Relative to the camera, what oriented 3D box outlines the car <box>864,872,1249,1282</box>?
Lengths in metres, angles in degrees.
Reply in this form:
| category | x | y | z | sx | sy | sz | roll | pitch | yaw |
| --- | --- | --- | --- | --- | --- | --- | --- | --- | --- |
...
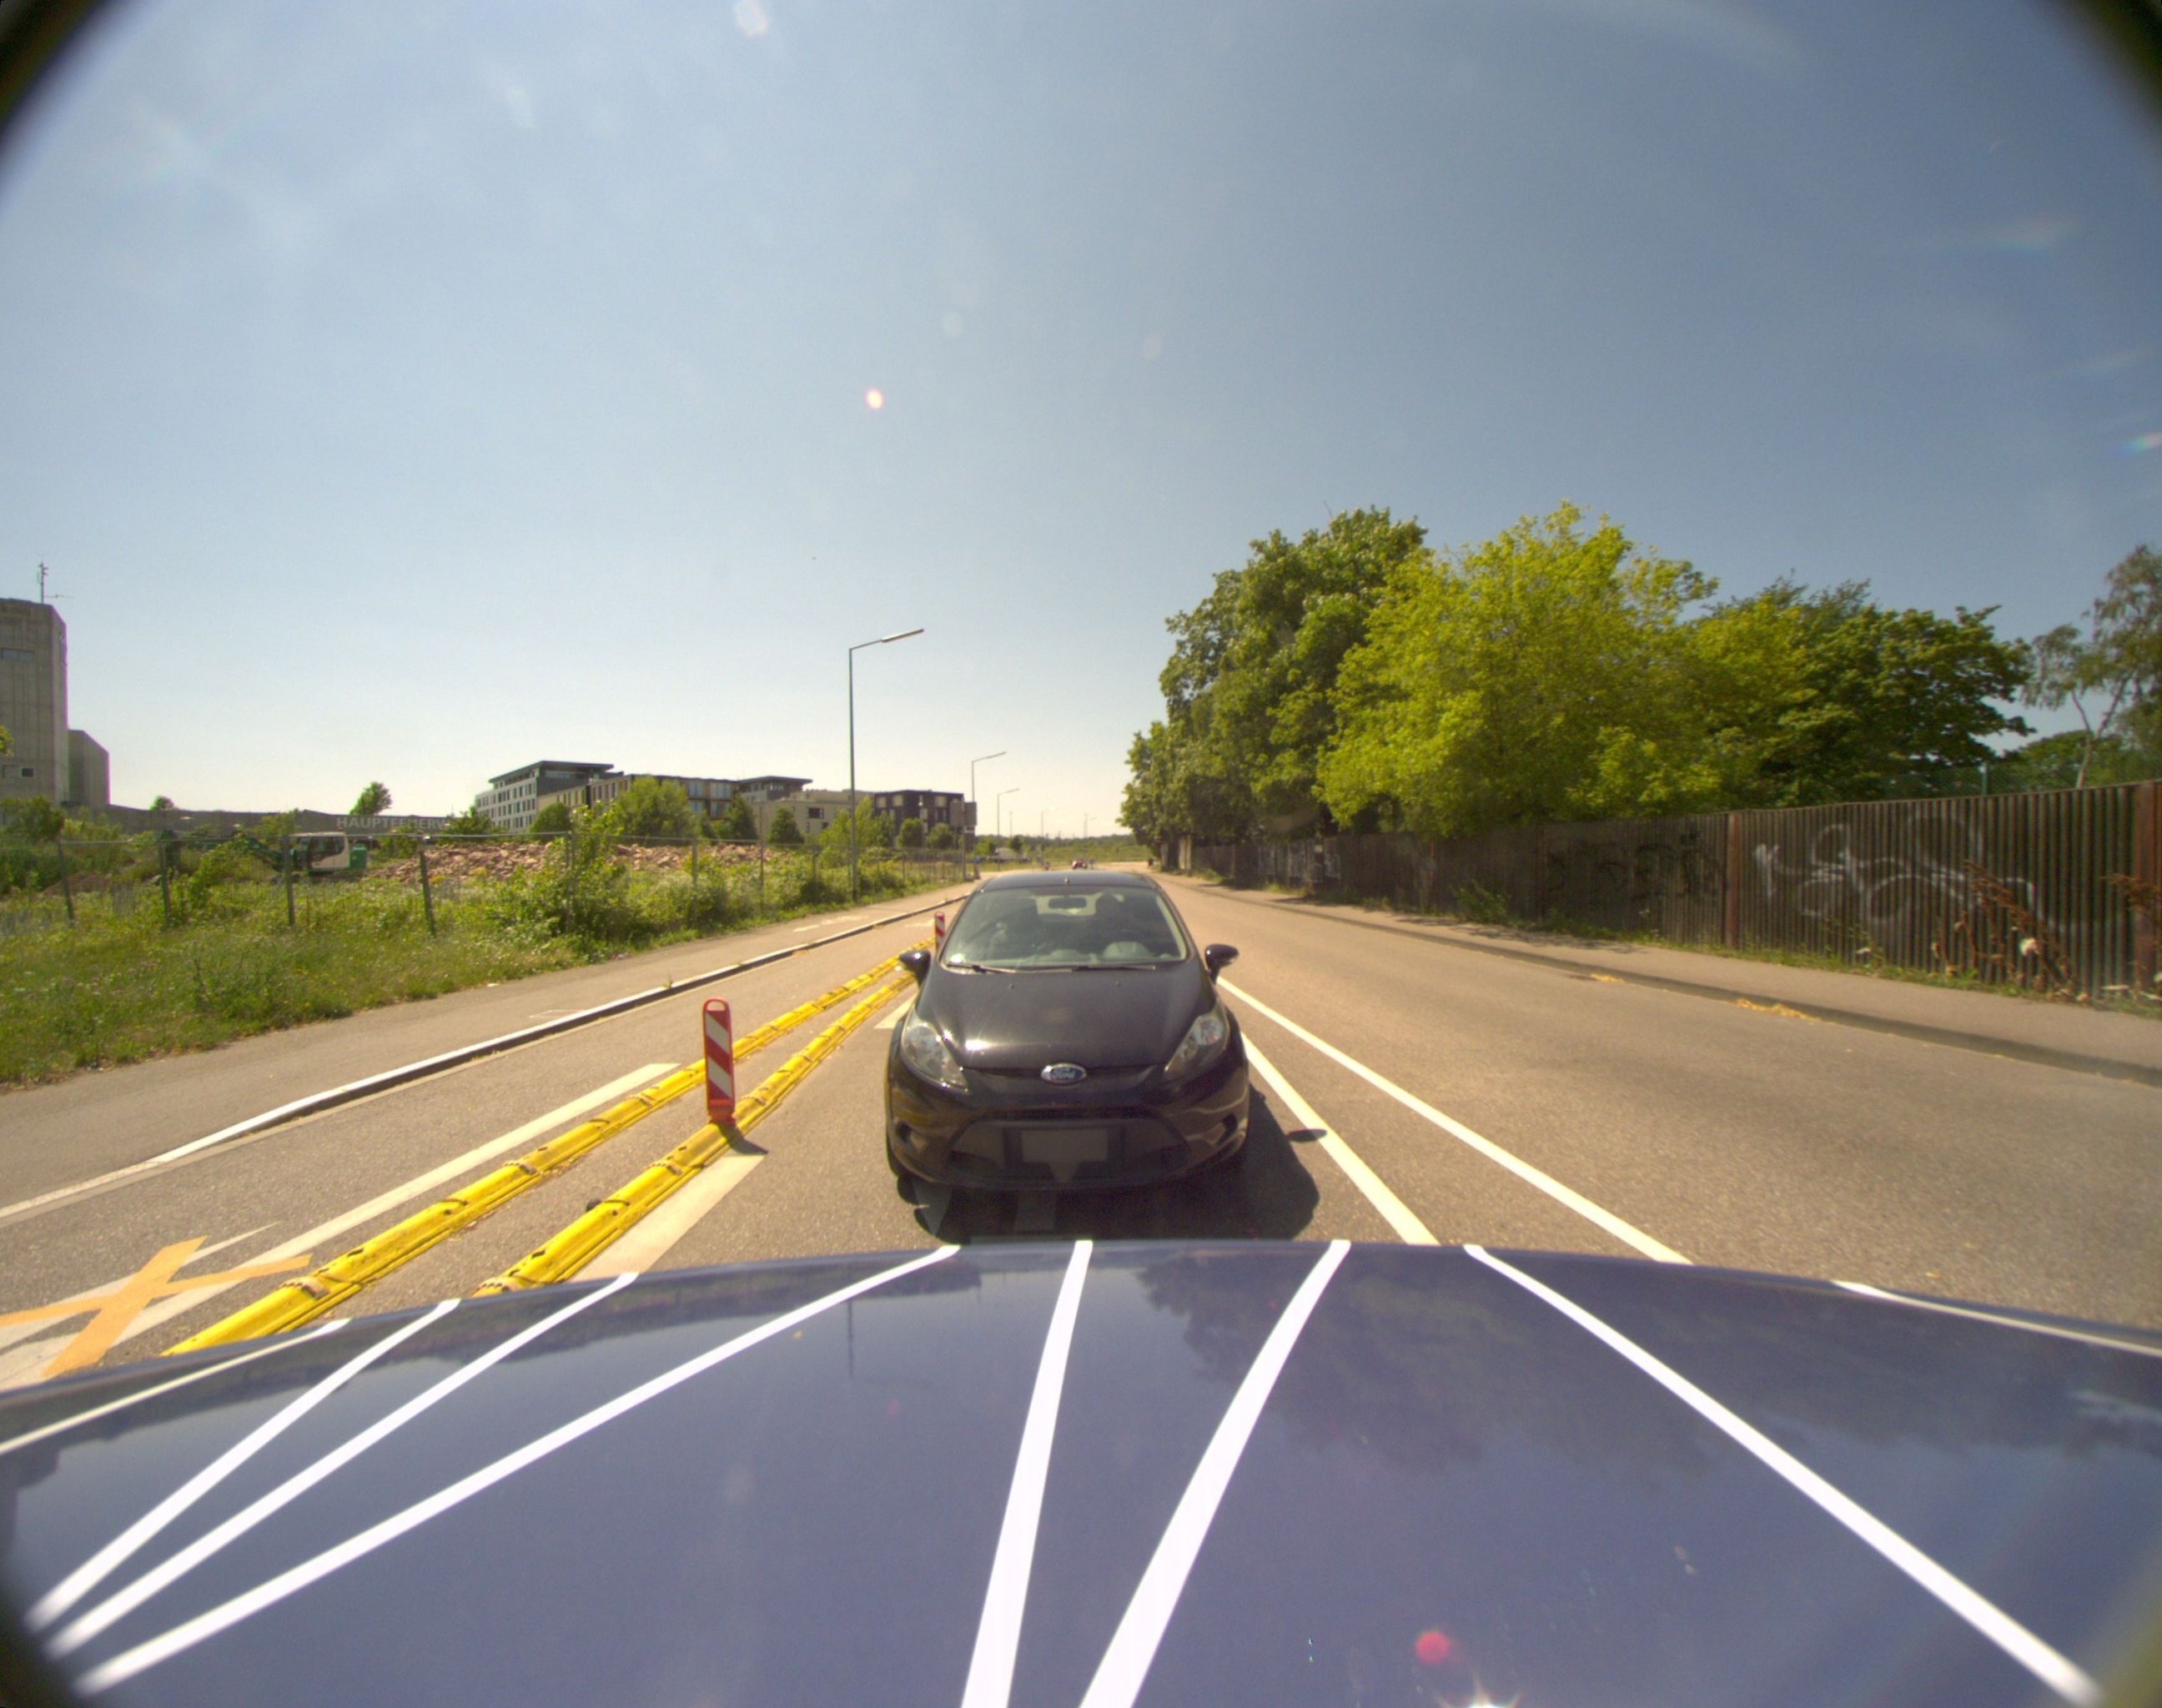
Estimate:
| category | x | y | z | sx | sy | sz | roll | pitch | yaw |
| --- | --- | --- | --- | --- | --- | --- | --- | --- | --- |
| car | -0.073 | 0.971 | 5.131 | 1.528 | 1.510 | 3.999 | -2 | 1 | 1 |

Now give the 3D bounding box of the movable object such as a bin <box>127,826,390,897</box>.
| category | x | y | z | sx | sy | sz | roll | pitch | yaw |
| --- | --- | --- | --- | --- | --- | --- | --- | --- | --- |
| movable object such as a bin | -38.349 | 0.254 | 35.962 | 3.231 | 2.899 | 7.702 | -2 | 1 | 15 |

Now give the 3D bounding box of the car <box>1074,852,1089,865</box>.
| category | x | y | z | sx | sy | sz | roll | pitch | yaw |
| --- | --- | --- | --- | --- | --- | --- | --- | --- | --- |
| car | 0.049 | 0.664 | 104.896 | 1.924 | 1.643 | 4.668 | -2 | 1 | 1 |
